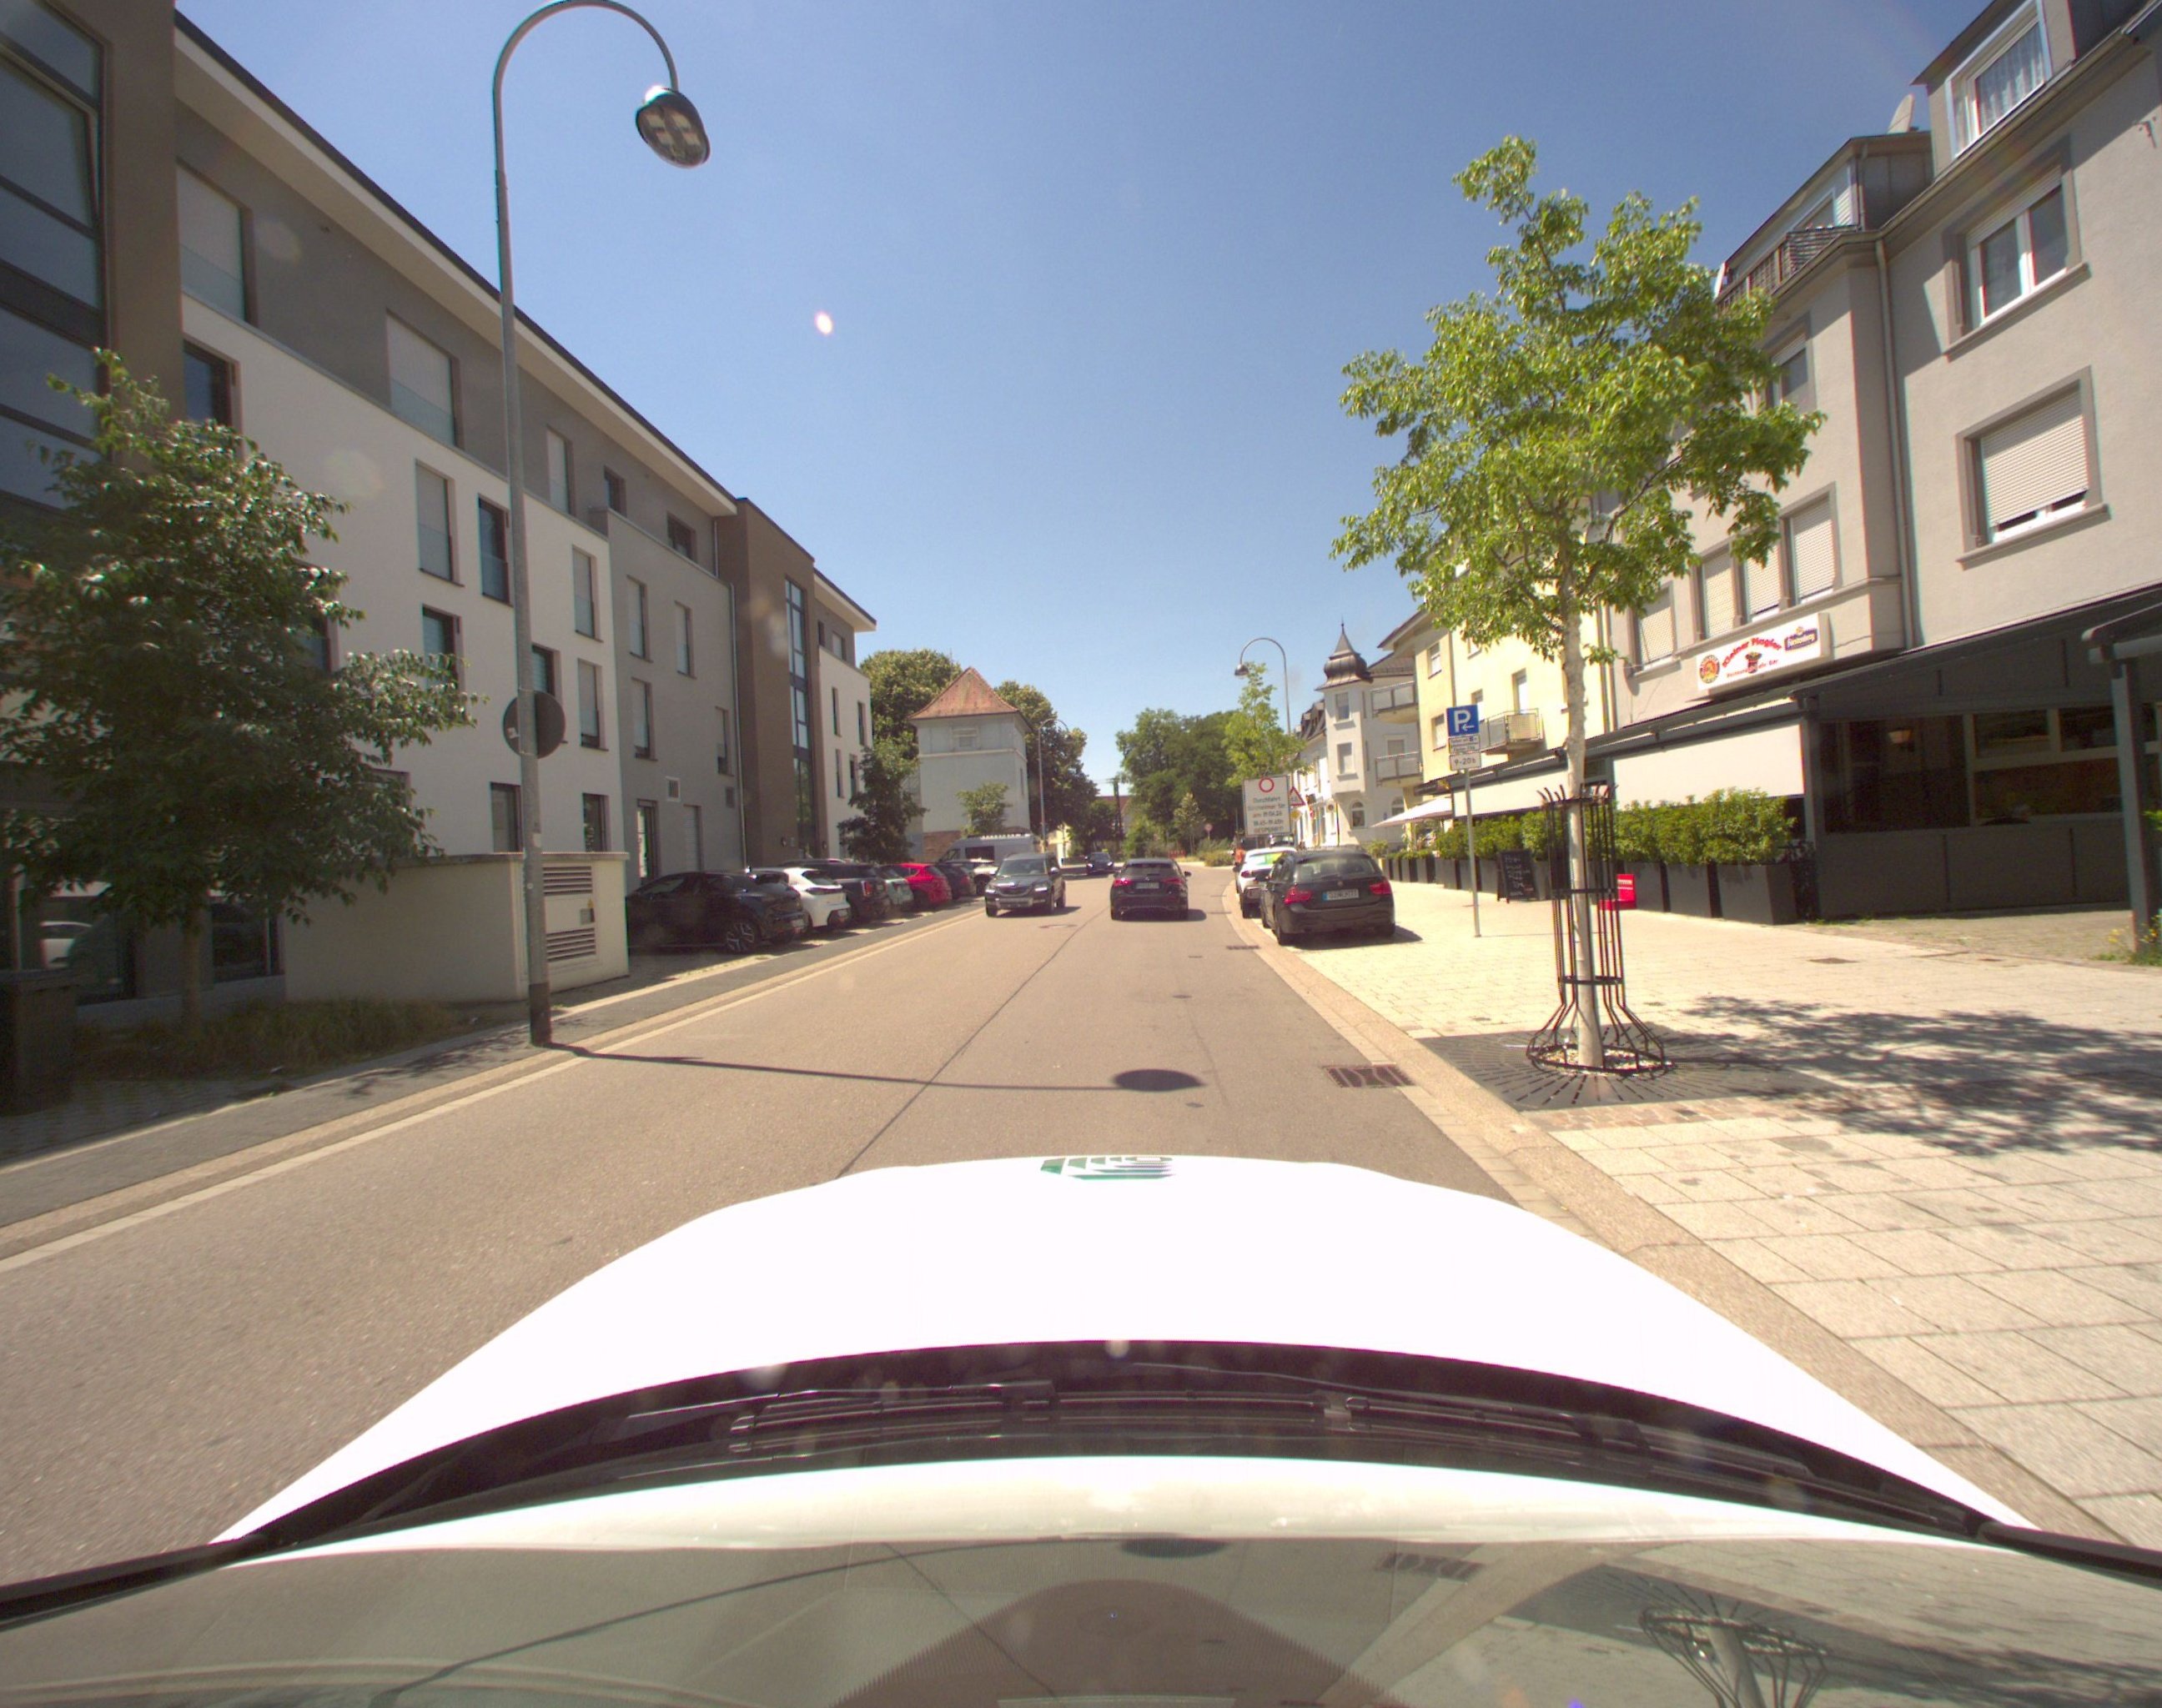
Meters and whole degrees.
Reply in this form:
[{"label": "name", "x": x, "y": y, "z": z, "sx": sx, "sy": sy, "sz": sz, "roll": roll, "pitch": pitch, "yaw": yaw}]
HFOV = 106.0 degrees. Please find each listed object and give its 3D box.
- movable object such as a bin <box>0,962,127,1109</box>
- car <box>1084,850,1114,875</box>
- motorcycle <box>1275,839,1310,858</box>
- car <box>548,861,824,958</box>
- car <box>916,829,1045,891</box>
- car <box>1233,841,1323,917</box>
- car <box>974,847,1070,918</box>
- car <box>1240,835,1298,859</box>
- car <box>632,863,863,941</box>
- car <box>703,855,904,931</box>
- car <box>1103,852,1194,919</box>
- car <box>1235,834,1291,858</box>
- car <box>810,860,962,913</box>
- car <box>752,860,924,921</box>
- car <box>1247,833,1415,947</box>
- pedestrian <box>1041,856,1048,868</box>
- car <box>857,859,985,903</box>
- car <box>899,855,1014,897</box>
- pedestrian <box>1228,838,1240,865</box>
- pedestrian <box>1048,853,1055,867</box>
[{"label": "movable object such as a bin", "x": -7.025, "y": 1.214, "z": 5.499, "sx": 0.554, "sy": 0.868, "sz": 0.479, "roll": -3, "pitch": -1, "yaw": -13}, {"label": "car", "x": 1.274, "y": 0.542, "z": 55.621, "sx": 1.886, "sy": 1.553, "sz": 4.802, "roll": -2, "pitch": 1, "yaw": 3}, {"label": "motorcycle", "x": 15.432, "y": -0.375, "z": 59.479, "sx": 2.366, "sy": 1.275, "sz": 0.857, "roll": -2, "pitch": 0, "yaw": 3}, {"label": "car", "x": -7.020, "y": 0.954, "z": 14.778, "sx": 3.968, "sy": 1.515, "sz": 2.003, "roll": -2, "pitch": 0, "yaw": 5}, {"label": "car", "x": -4.811, "y": 0.305, "z": 39.511, "sx": 5.739, "sy": 2.732, "sz": 2.295, "roll": -2, "pitch": -1, "yaw": 5}, {"label": "car", "x": 4.585, "y": 0.540, "z": 19.431, "sx": 1.727, "sy": 1.486, "sz": 4.065, "roll": -6, "pitch": -1, "yaw": 10}, {"label": "car", "x": -1.532, "y": 0.742, "z": 22.772, "sx": 1.801, "sy": 1.701, "sz": 4.084, "roll": -3, "pitch": -1, "yaw": 7}, {"label": "car", "x": 14.558, "y": -0.521, "z": 63.111, "sx": 4.058, "sy": 1.716, "sz": 1.857, "roll": -2, "pitch": -1, "yaw": 2}, {"label": "car", "x": -6.863, "y": 0.966, "z": 17.014, "sx": 3.968, "sy": 1.421, "sz": 1.912, "roll": -2, "pitch": -1, "yaw": 5}, {"label": "car", "x": -6.561, "y": 0.902, "z": 19.523, "sx": 4.011, "sy": 1.651, "sz": 2.004, "roll": -2, "pitch": -1, "yaw": 6}, {"label": "car", "x": 1.773, "y": 0.758, "z": 20.085, "sx": 1.816, "sy": 1.442, "sz": 4.011, "roll": -2, "pitch": -2, "yaw": 10}, {"label": "car", "x": 14.469, "y": -0.627, "z": 65.011, "sx": 4.058, "sy": 1.716, "sz": 1.857, "roll": -2, "pitch": -1, "yaw": 2}, {"label": "car", "x": -5.914, "y": 0.972, "z": 25.002, "sx": 4.011, "sy": 1.430, "sz": 2.004, "roll": -2, "pitch": -1, "yaw": 6}, {"label": "car", "x": -6.583, "y": 0.981, "z": 22.348, "sx": 4.011, "sy": 1.497, "sz": 2.004, "roll": -2, "pitch": -1, "yaw": 6}, {"label": "car", "x": 3.987, "y": 0.553, "z": 13.719, "sx": 1.823, "sy": 1.482, "sz": 4.102, "roll": -5, "pitch": -1, "yaw": 6}, {"label": "pedestrian", "x": -4.910, "y": 1.092, "z": 109.450, "sx": 0.617, "sy": 1.612, "sz": 0.830, "roll": -3, "pitch": -1, "yaw": -26}, {"label": "car", "x": -5.720, "y": 0.959, "z": 29.469, "sx": 4.186, "sy": 1.437, "sz": 1.886, "roll": -2, "pitch": -1, "yaw": 0}, {"label": "car", "x": -5.230, "y": 0.911, "z": 34.661, "sx": 4.433, "sy": 1.591, "sz": 2.002, "roll": -2, "pitch": -1, "yaw": 4}, {"label": "pedestrian", "x": 10.883, "y": -0.187, "z": 57.782, "sx": 0.741, "sy": 1.796, "sz": 0.846, "roll": -3, "pitch": 1, "yaw": 12}, {"label": "pedestrian", "x": -3.945, "y": 0.800, "z": 108.929, "sx": 0.666, "sy": 1.741, "sz": 0.694, "roll": -2, "pitch": -1, "yaw": -39}]
